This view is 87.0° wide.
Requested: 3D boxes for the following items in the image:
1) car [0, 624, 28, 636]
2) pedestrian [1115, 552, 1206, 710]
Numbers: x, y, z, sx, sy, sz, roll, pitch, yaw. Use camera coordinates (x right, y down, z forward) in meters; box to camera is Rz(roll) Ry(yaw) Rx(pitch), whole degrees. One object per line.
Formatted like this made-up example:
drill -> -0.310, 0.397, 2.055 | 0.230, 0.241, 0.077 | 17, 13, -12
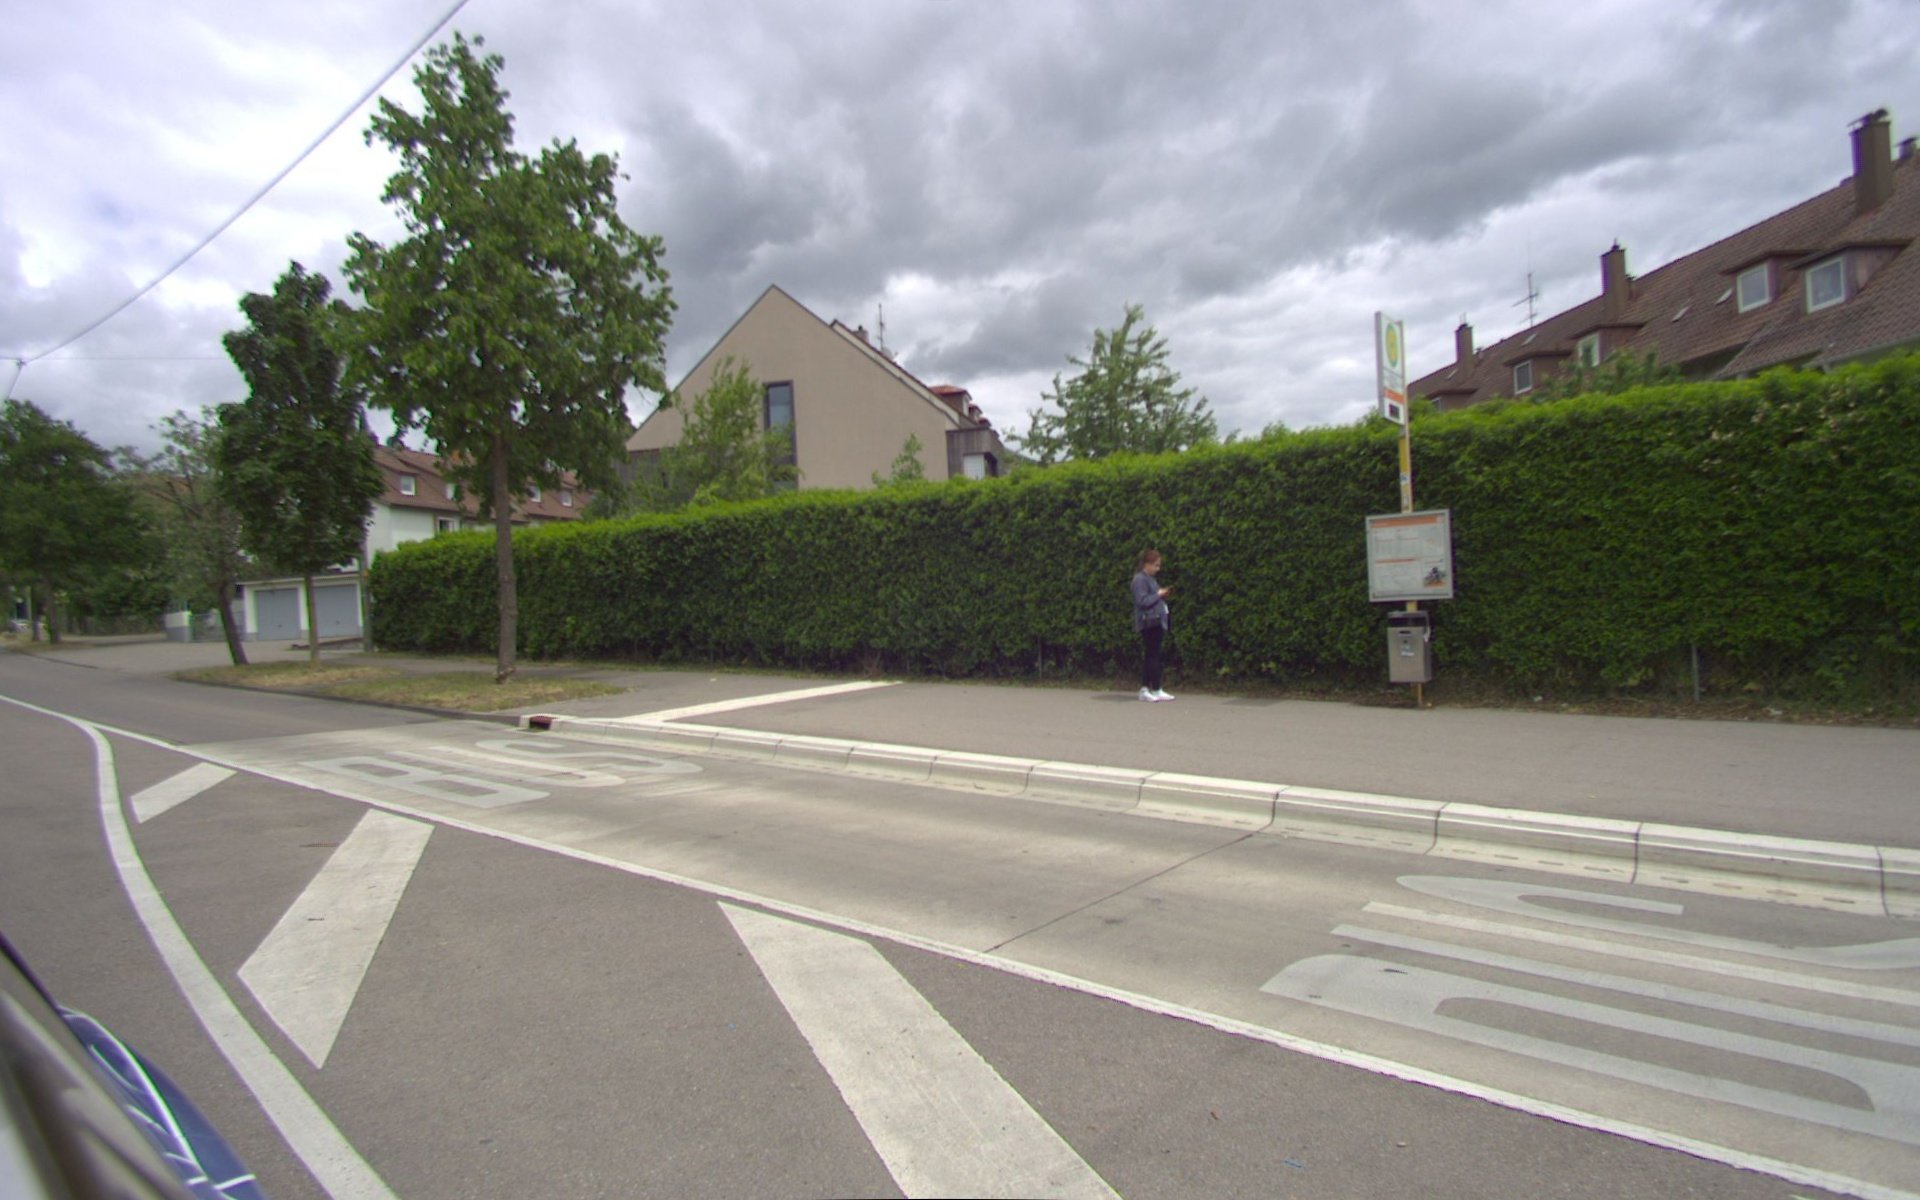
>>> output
car -> -119.021, 3.753, 126.218 | 1.778, 1.420, 3.992 | -2, 0, 6
pedestrian -> 2.290, 0.337, 11.540 | 0.776, 1.723, 0.686 | -2, 0, 33
